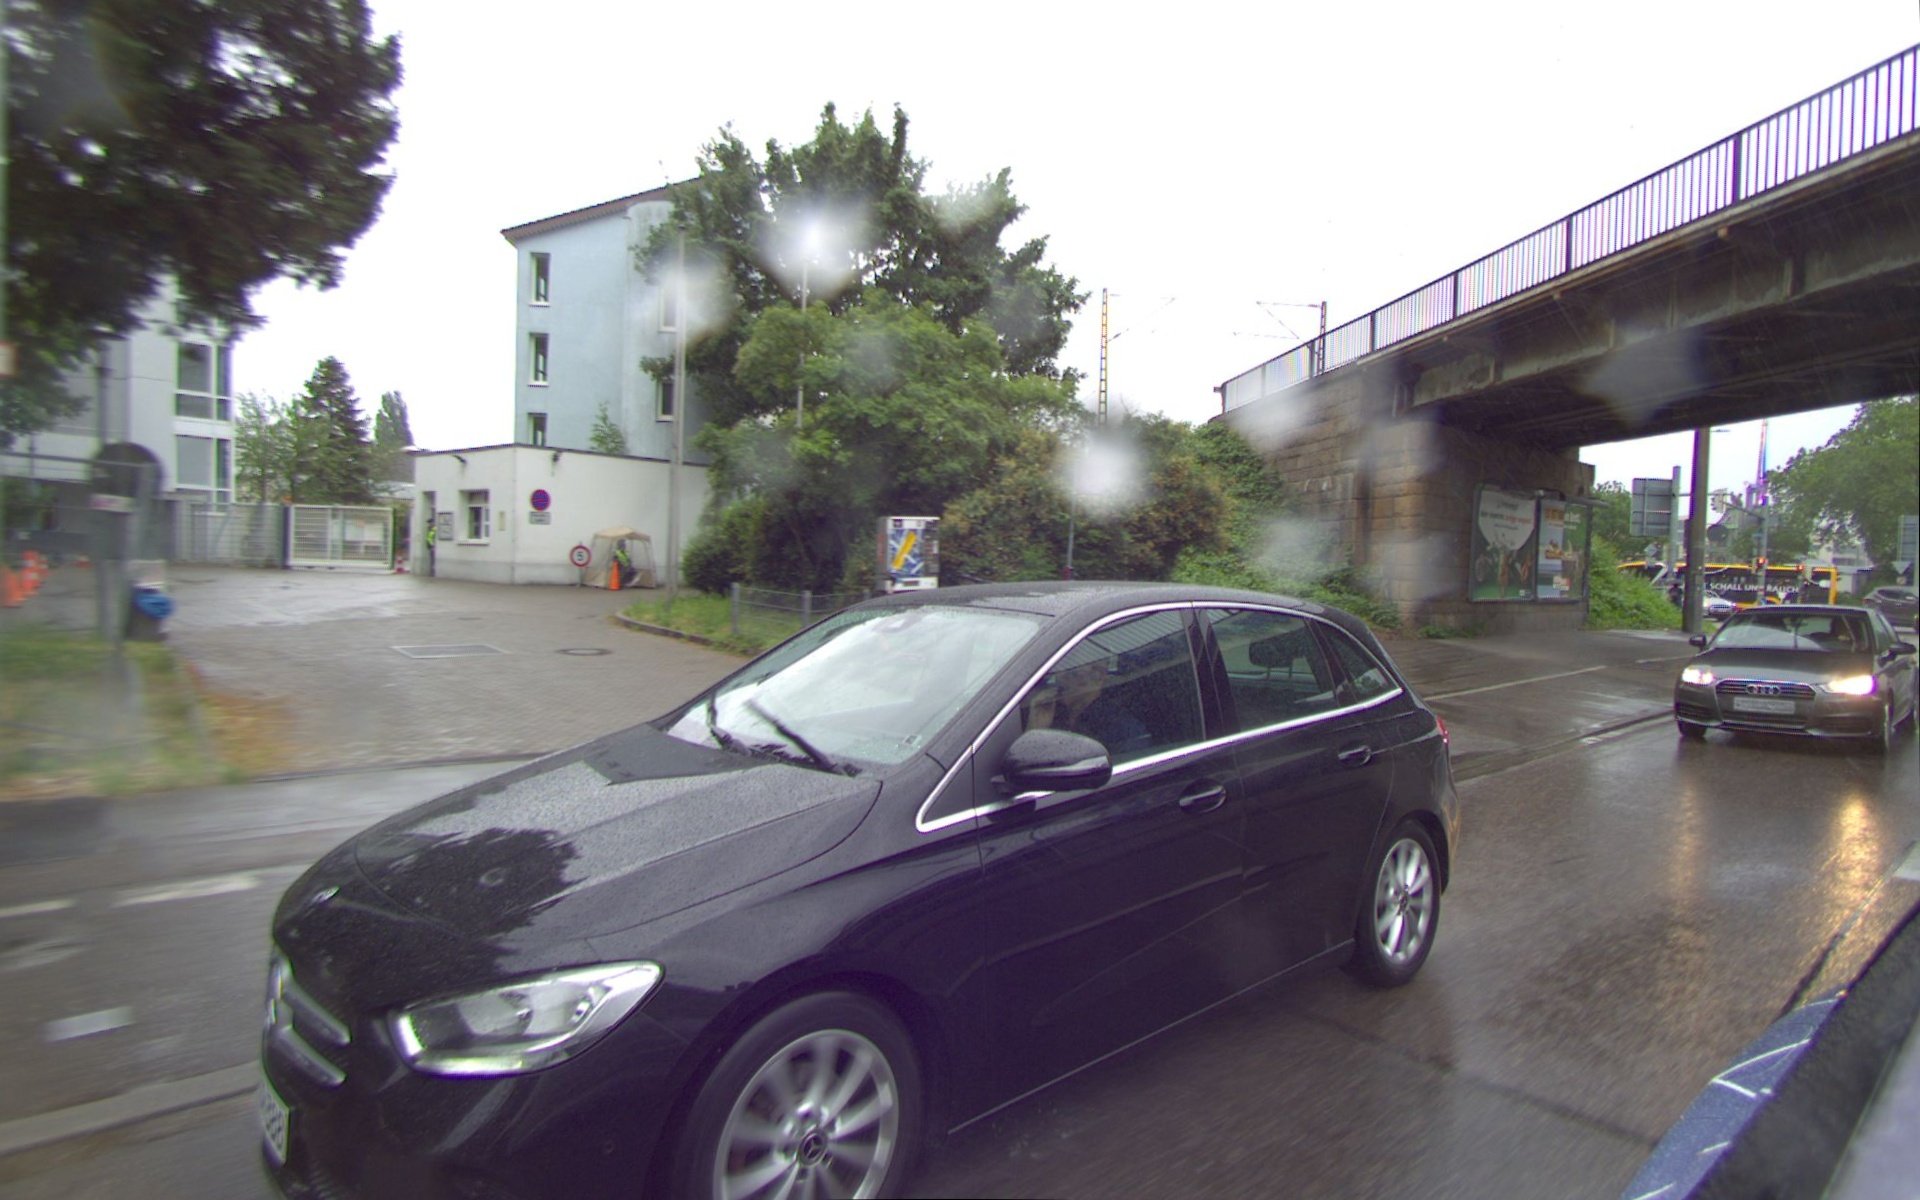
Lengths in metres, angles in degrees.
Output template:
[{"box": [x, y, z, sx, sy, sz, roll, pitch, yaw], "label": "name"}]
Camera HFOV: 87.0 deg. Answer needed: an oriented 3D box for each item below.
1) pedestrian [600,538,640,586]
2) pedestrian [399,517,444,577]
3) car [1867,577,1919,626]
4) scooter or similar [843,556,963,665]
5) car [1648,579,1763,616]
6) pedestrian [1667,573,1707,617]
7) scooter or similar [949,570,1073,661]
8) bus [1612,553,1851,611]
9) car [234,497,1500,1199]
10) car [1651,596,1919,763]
[{"box": [-9.479, -1.065, 28.231, 0.856, 1.310, 0.696, 4, 3, 40], "label": "pedestrian"}, {"box": [-16.039, -1.582, 30.144, 0.927, 1.757, 0.912, 4, 3, 43], "label": "pedestrian"}, {"box": [34.961, 0.111, 35.829, 1.991, 1.677, 4.061, 2, 3, 2], "label": "car"}, {"box": [-0.748, 0.126, 13.548, 1.528, 1.325, 0.711, 2, 6, 0], "label": "scooter or similar"}, {"box": [32.984, -0.136, 44.918, 1.861, 1.365, 4.006, 1, 3, -5], "label": "car"}, {"box": [29.737, -0.224, 41.396, 0.984, 1.740, 0.822, 2, 2, -13], "label": "pedestrian"}, {"box": [0.713, 0.222, 14.393, 1.515, 1.192, 0.775, 1, 4, -23], "label": "scooter or similar"}, {"box": [50.732, -1.320, 67.246, 12.192, 3.308, 3.239, 3, 3, 31], "label": "bus"}, {"box": [0.038, 0.563, 3.505, 4.015, 1.542, 1.874, 0, 3, -41], "label": "car"}, {"box": [9.134, 0.698, 10.898, 3.687, 1.415, 1.840, -1, 2, -40], "label": "car"}]
